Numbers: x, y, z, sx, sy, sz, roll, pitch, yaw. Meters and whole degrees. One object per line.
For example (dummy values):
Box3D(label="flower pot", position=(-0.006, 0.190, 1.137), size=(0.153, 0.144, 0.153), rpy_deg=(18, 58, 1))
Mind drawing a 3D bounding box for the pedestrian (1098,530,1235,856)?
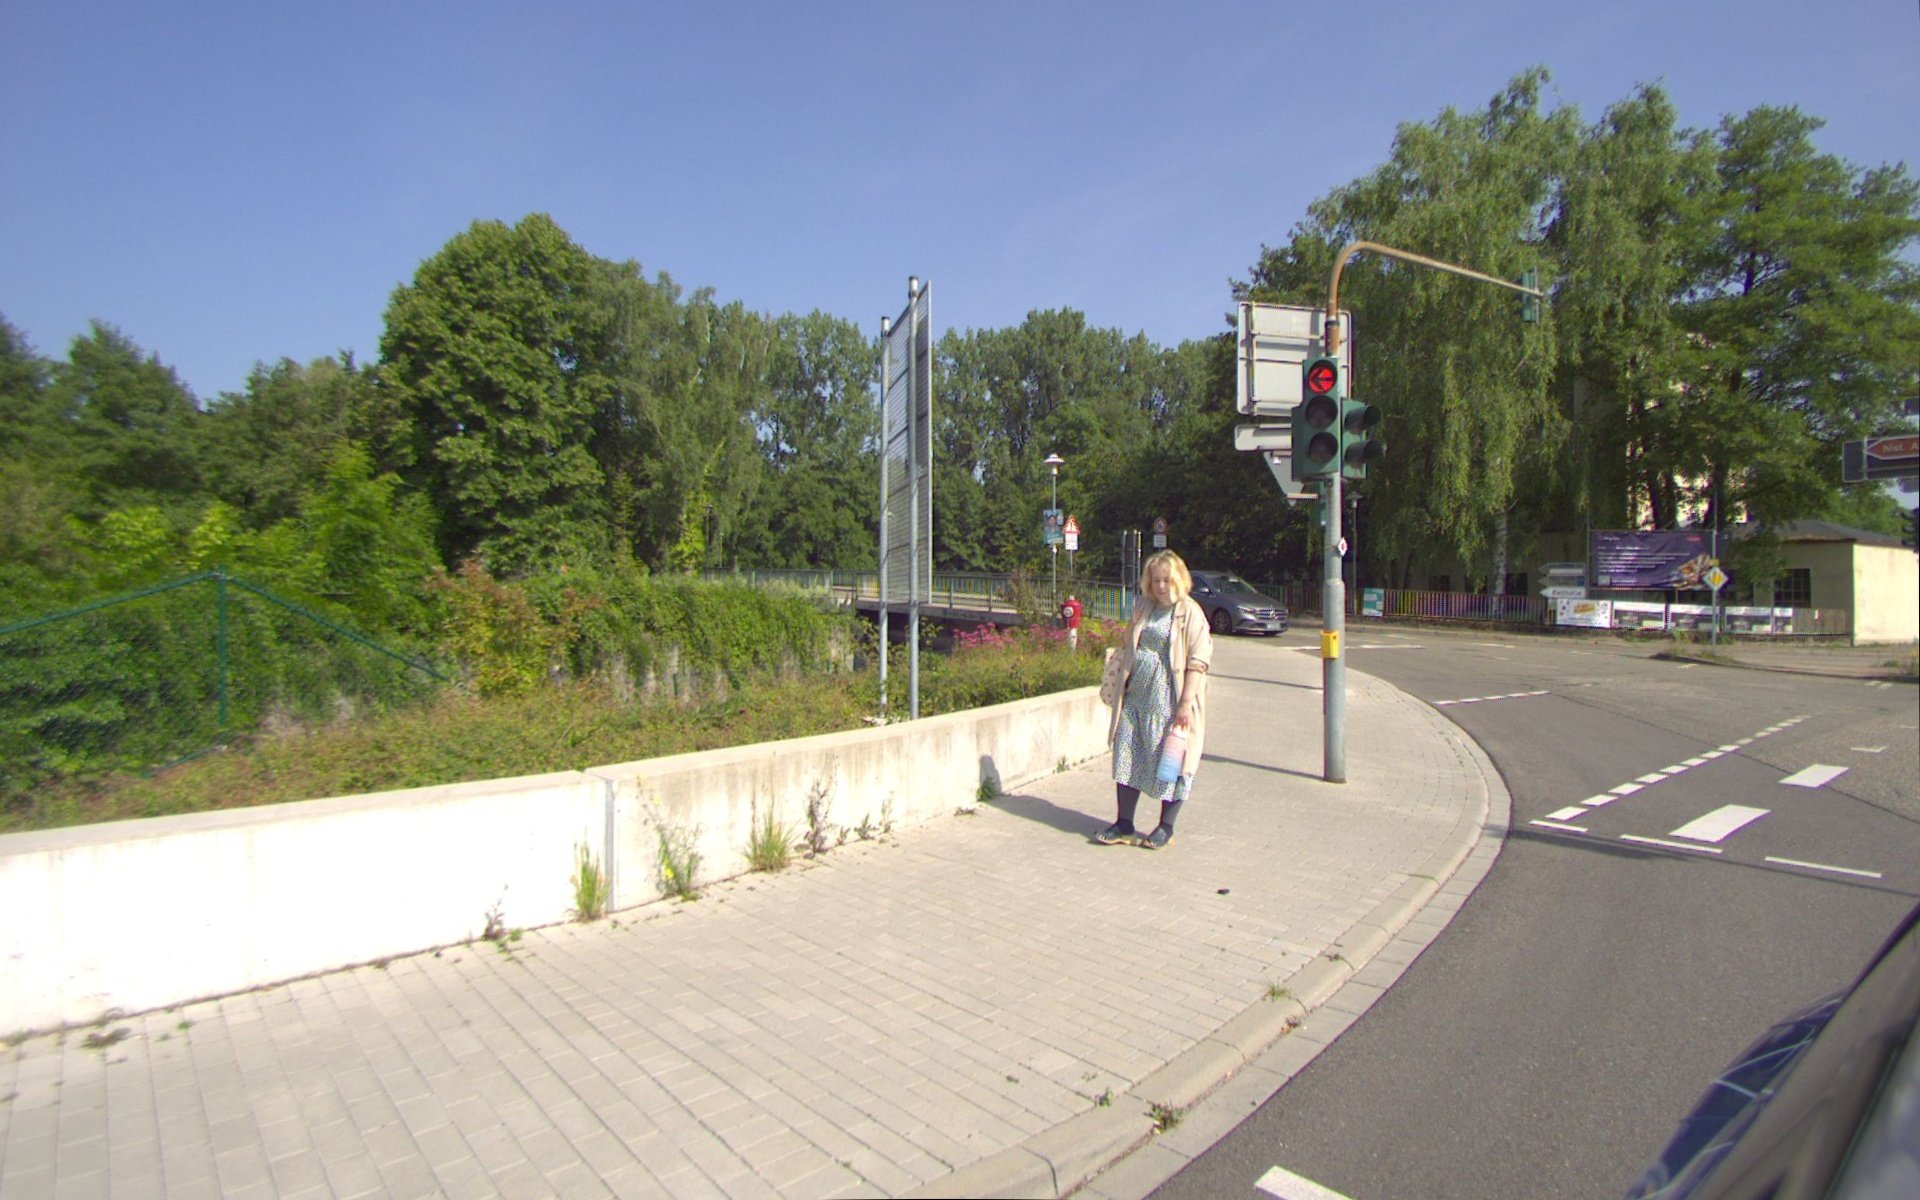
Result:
Box3D(label="pedestrian", position=(1.129, 0.479, 5.614), size=(0.701, 1.692, 0.591), rpy_deg=(0, 0, 9))

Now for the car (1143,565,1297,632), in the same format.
Box3D(label="car", position=(6.572, -0.111, 26.009), size=(1.633, 1.536, 4.093), rpy_deg=(0, 3, -24))
